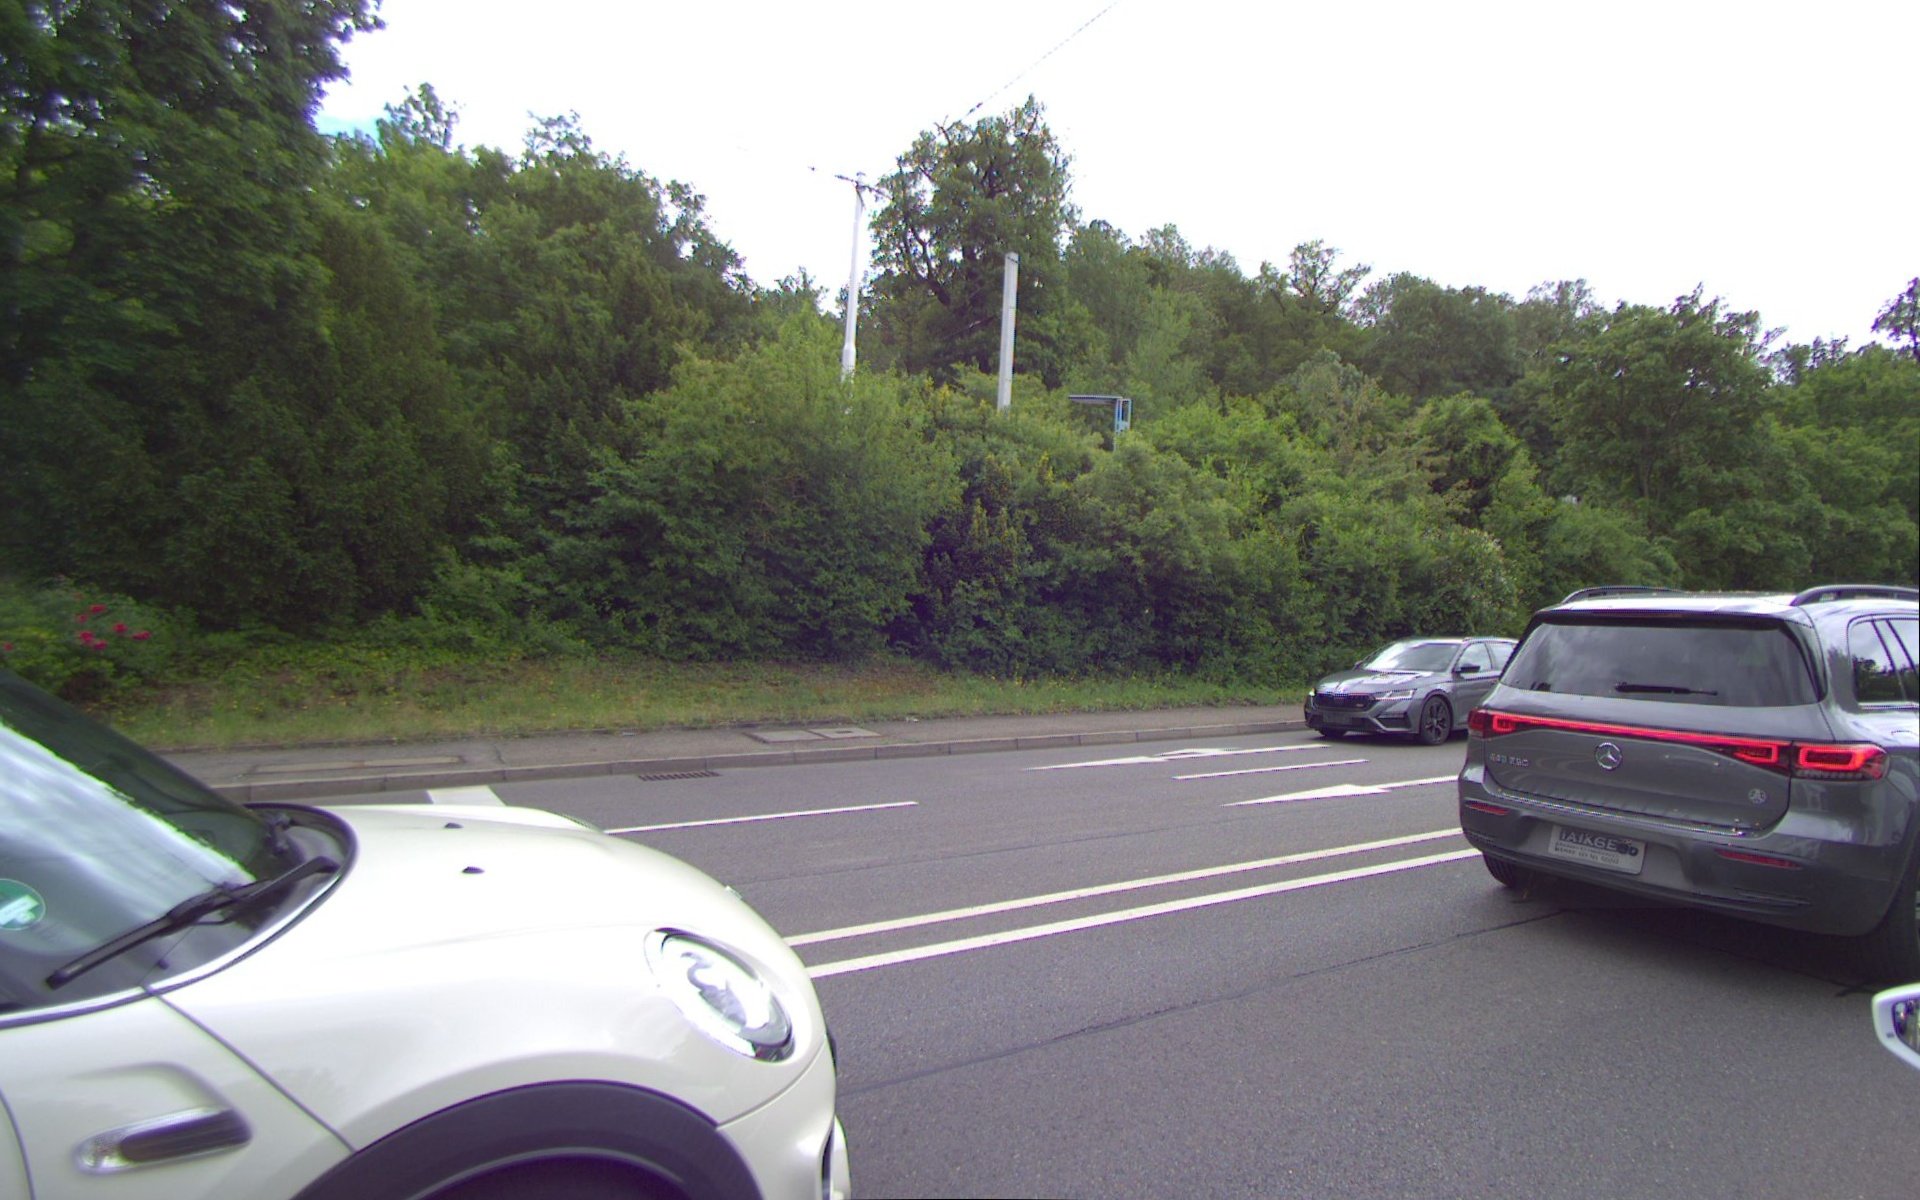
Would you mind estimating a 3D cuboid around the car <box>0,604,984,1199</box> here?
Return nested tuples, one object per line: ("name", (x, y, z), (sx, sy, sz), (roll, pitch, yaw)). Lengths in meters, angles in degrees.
("car", (-1.962, 0.724, 1.535), (3.691, 1.443, 1.675), (2, -1, -32))

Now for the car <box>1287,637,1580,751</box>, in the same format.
("car", (6.796, 1.239, 14.295), (4.310, 1.413, 1.671), (2, -2, -31))

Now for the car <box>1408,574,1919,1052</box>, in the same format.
("car", (4.581, 0.798, 5.459), (4.309, 1.673, 1.839), (2, -1, -32))
